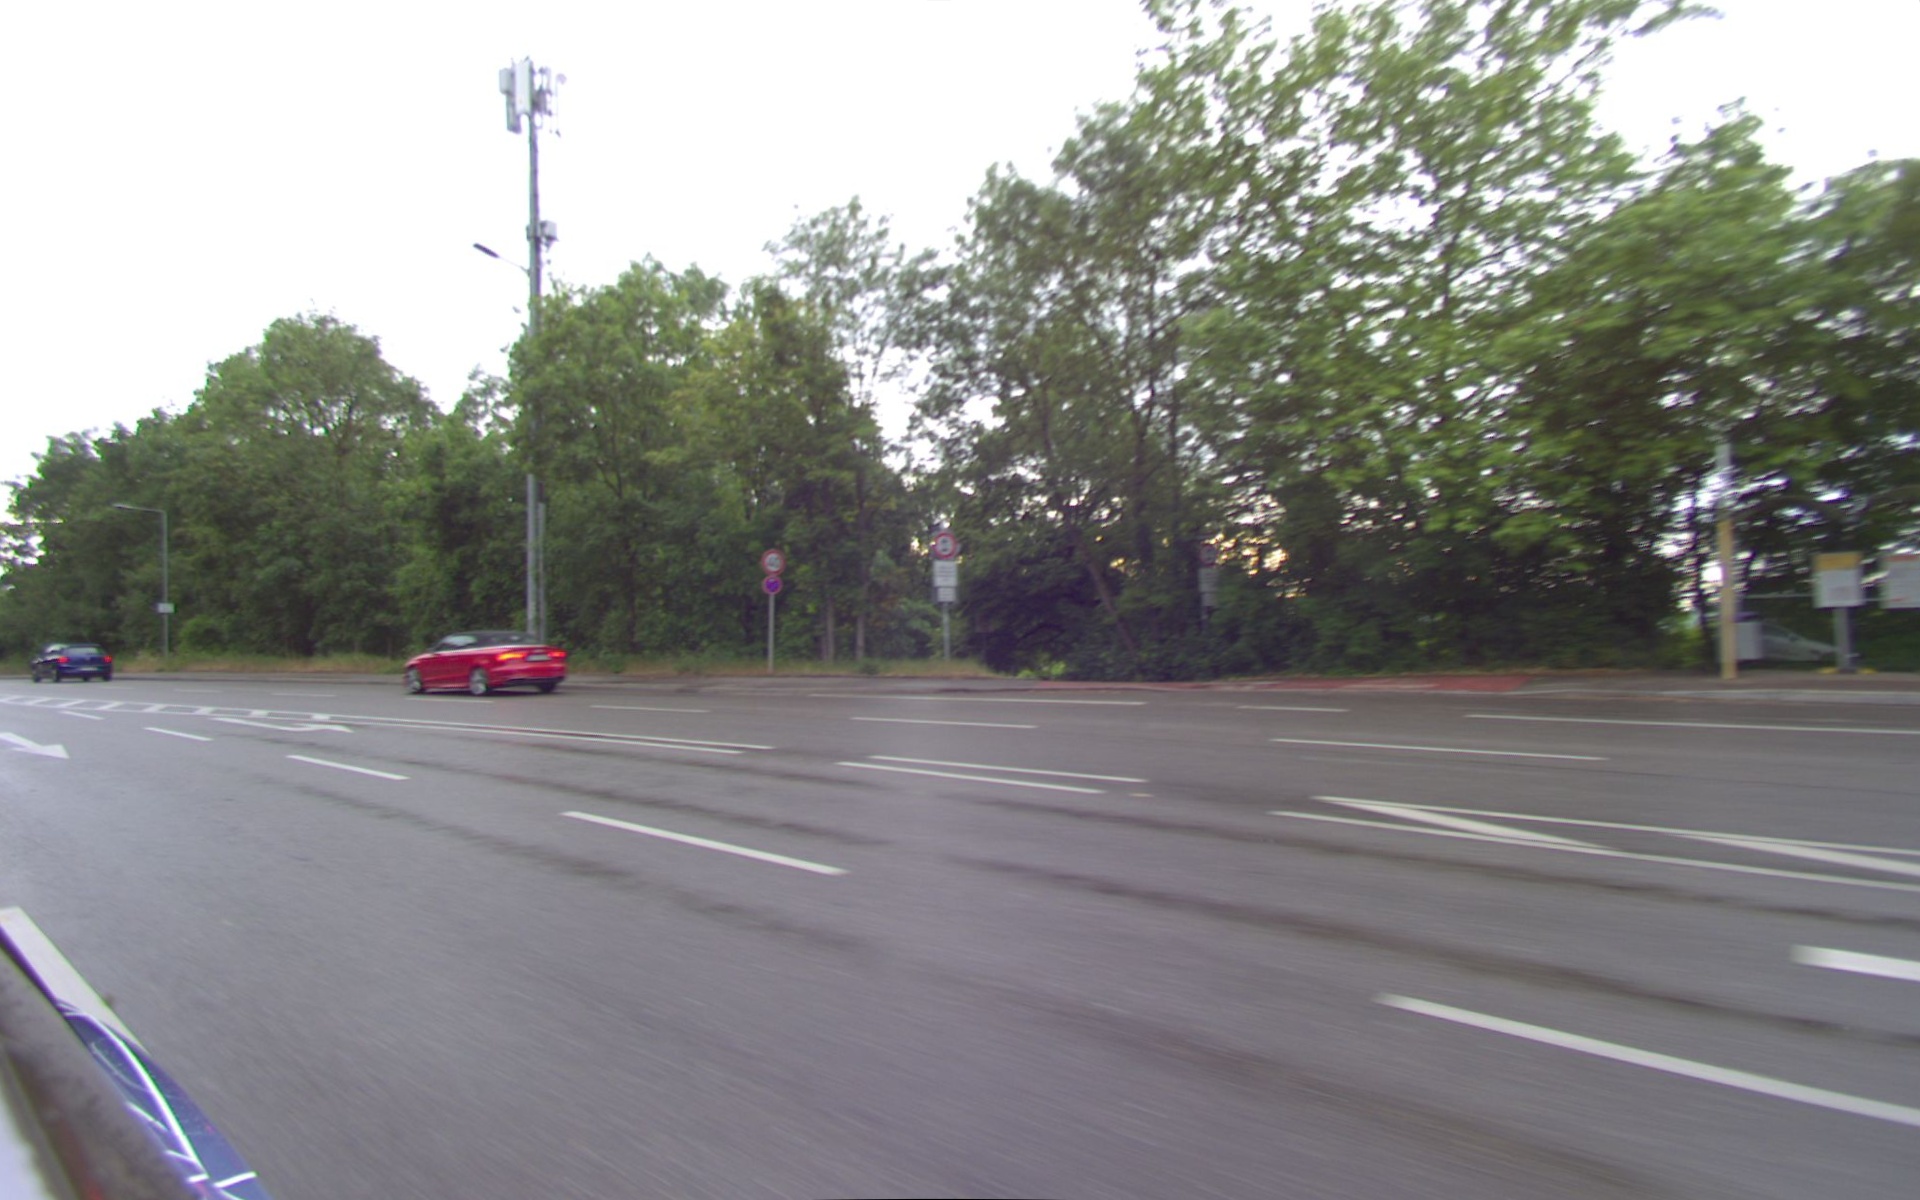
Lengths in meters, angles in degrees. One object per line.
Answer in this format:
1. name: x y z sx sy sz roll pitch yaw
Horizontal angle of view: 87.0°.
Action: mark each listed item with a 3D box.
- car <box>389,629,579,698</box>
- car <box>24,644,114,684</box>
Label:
1. car: -10.625 1.370 22.487 4.372 1.384 1.860 -2 -2 34
2. car: -33.833 2.402 38.402 3.990 1.405 1.617 -2 -3 34
